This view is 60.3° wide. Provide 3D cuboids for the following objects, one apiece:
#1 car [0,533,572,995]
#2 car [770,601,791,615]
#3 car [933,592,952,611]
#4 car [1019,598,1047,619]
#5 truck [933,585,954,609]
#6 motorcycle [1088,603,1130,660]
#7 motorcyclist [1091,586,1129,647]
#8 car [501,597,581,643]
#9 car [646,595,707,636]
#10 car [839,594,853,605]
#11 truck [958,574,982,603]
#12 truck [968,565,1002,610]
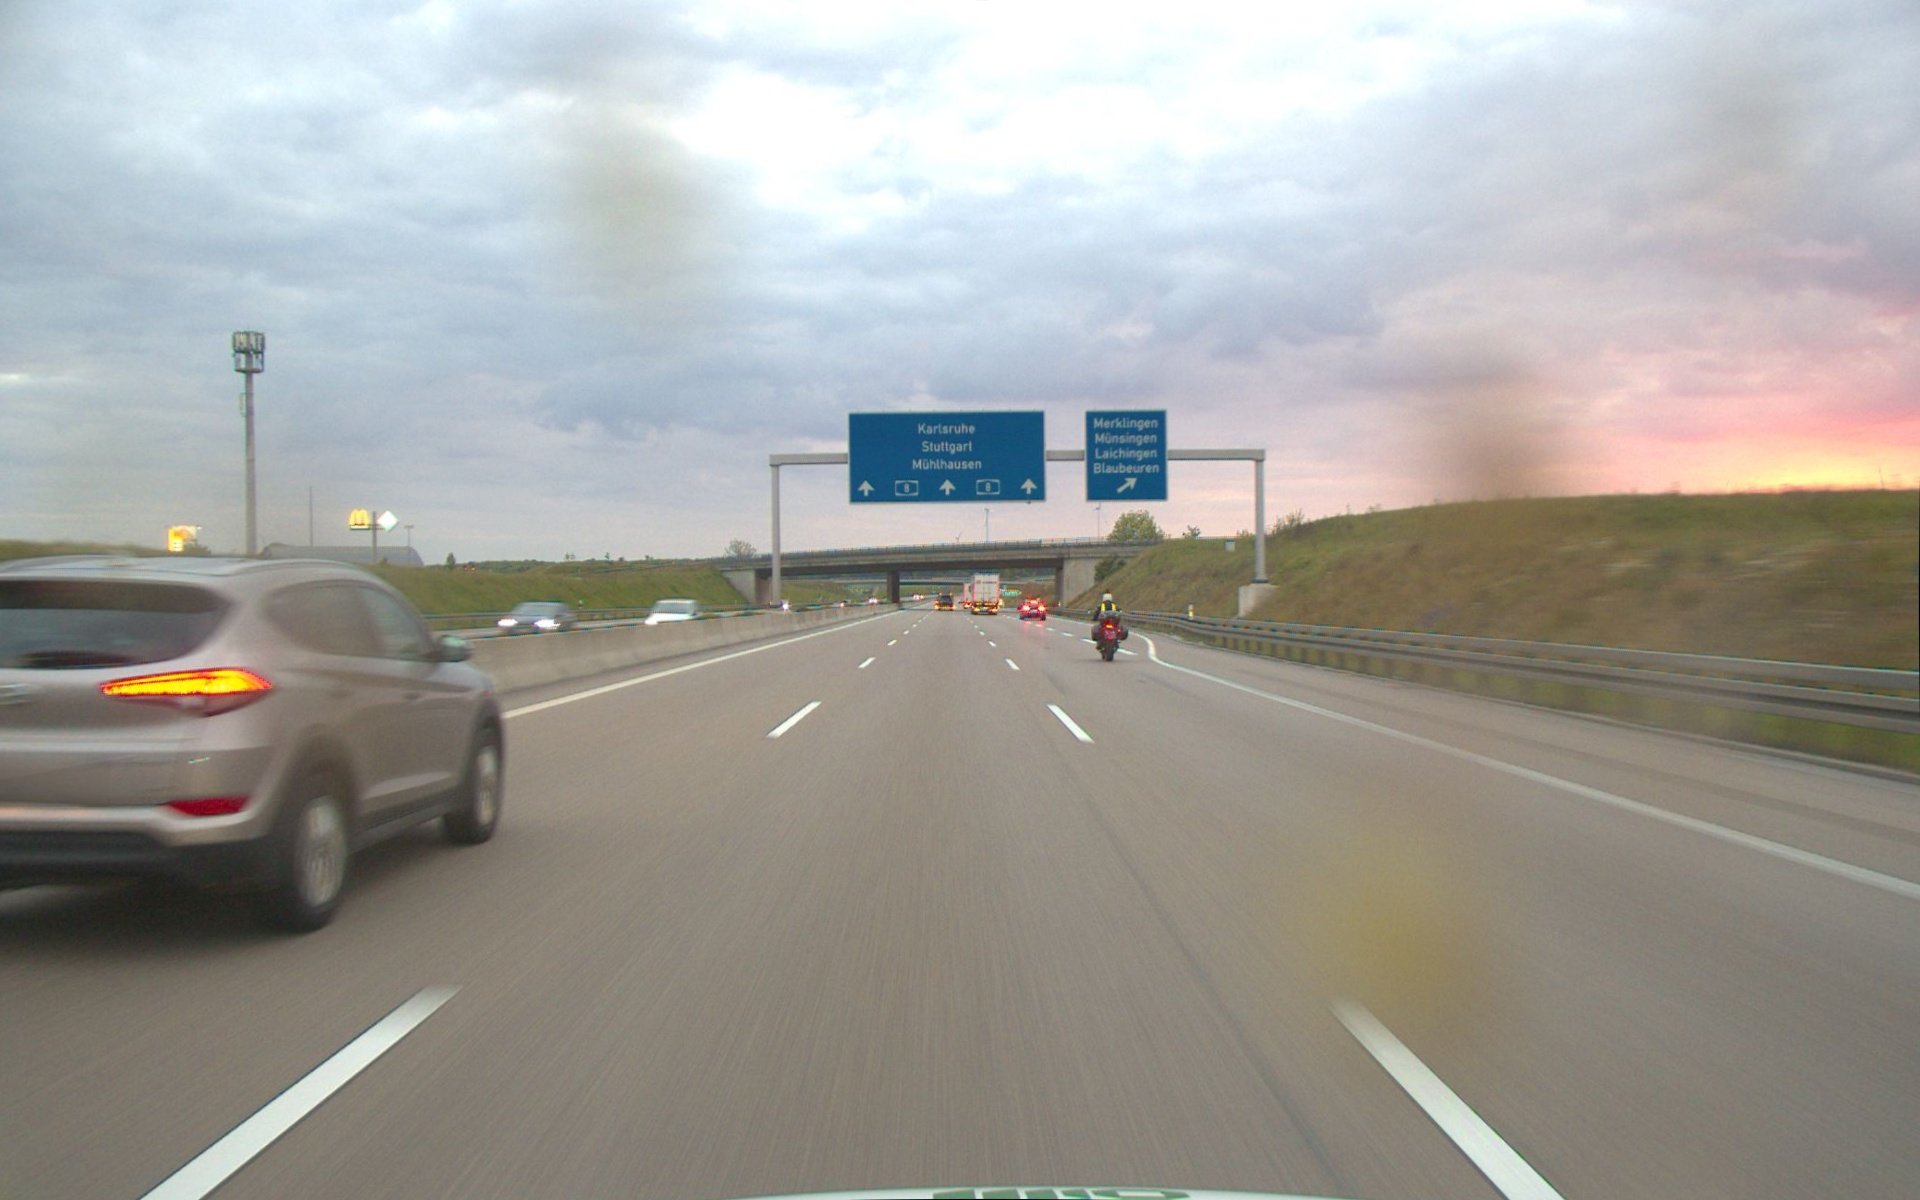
[{"bbox_3d":[-3.631,0.597,8.914,1.814,1.722,5.511,0,0,0],"label":"car"},{"bbox_3d":[-20.681,0.927,190.269,1.953,1.630,5.198,1,-1,-2],"label":"car"},{"bbox_3d":[-2.277,0.196,214.626,2.465,2.433,6.494,0,0,-1],"label":"car"},{"bbox_3d":[5.575,0.637,126.119,1.879,1.607,3.999,0,0,-1],"label":"car"},{"bbox_3d":[-2.365,-0.427,230.960,2.892,3.273,8.404,1,1,-1],"label":"truck"},{"bbox_3d":[3.783,0.782,42.181,0.883,1.370,2.349,0,1,0],"label":"motorcycle"},{"bbox_3d":[3.801,0.409,42.045,0.848,1.513,1.168,1,1,1],"label":"motorcyclist"},{"bbox_3d":[-15.466,0.698,61.279,1.962,1.615,4.571,0,0,-2],"label":"car"},{"bbox_3d":[-11.801,0.637,69.113,1.713,1.625,4.643,1,0,0],"label":"car"},{"bbox_3d":[-17.445,-0.050,253.088,1.782,1.657,4.000,1,-1,0],"label":"car"},{"bbox_3d":[1.562,-1.809,255.977,3.454,4.421,8.404,1,1,-1],"label":"truck"},{"bbox_3d":[2.457,-1.290,167.007,3.167,4.301,9.598,1,1,0],"label":"truck"}]
